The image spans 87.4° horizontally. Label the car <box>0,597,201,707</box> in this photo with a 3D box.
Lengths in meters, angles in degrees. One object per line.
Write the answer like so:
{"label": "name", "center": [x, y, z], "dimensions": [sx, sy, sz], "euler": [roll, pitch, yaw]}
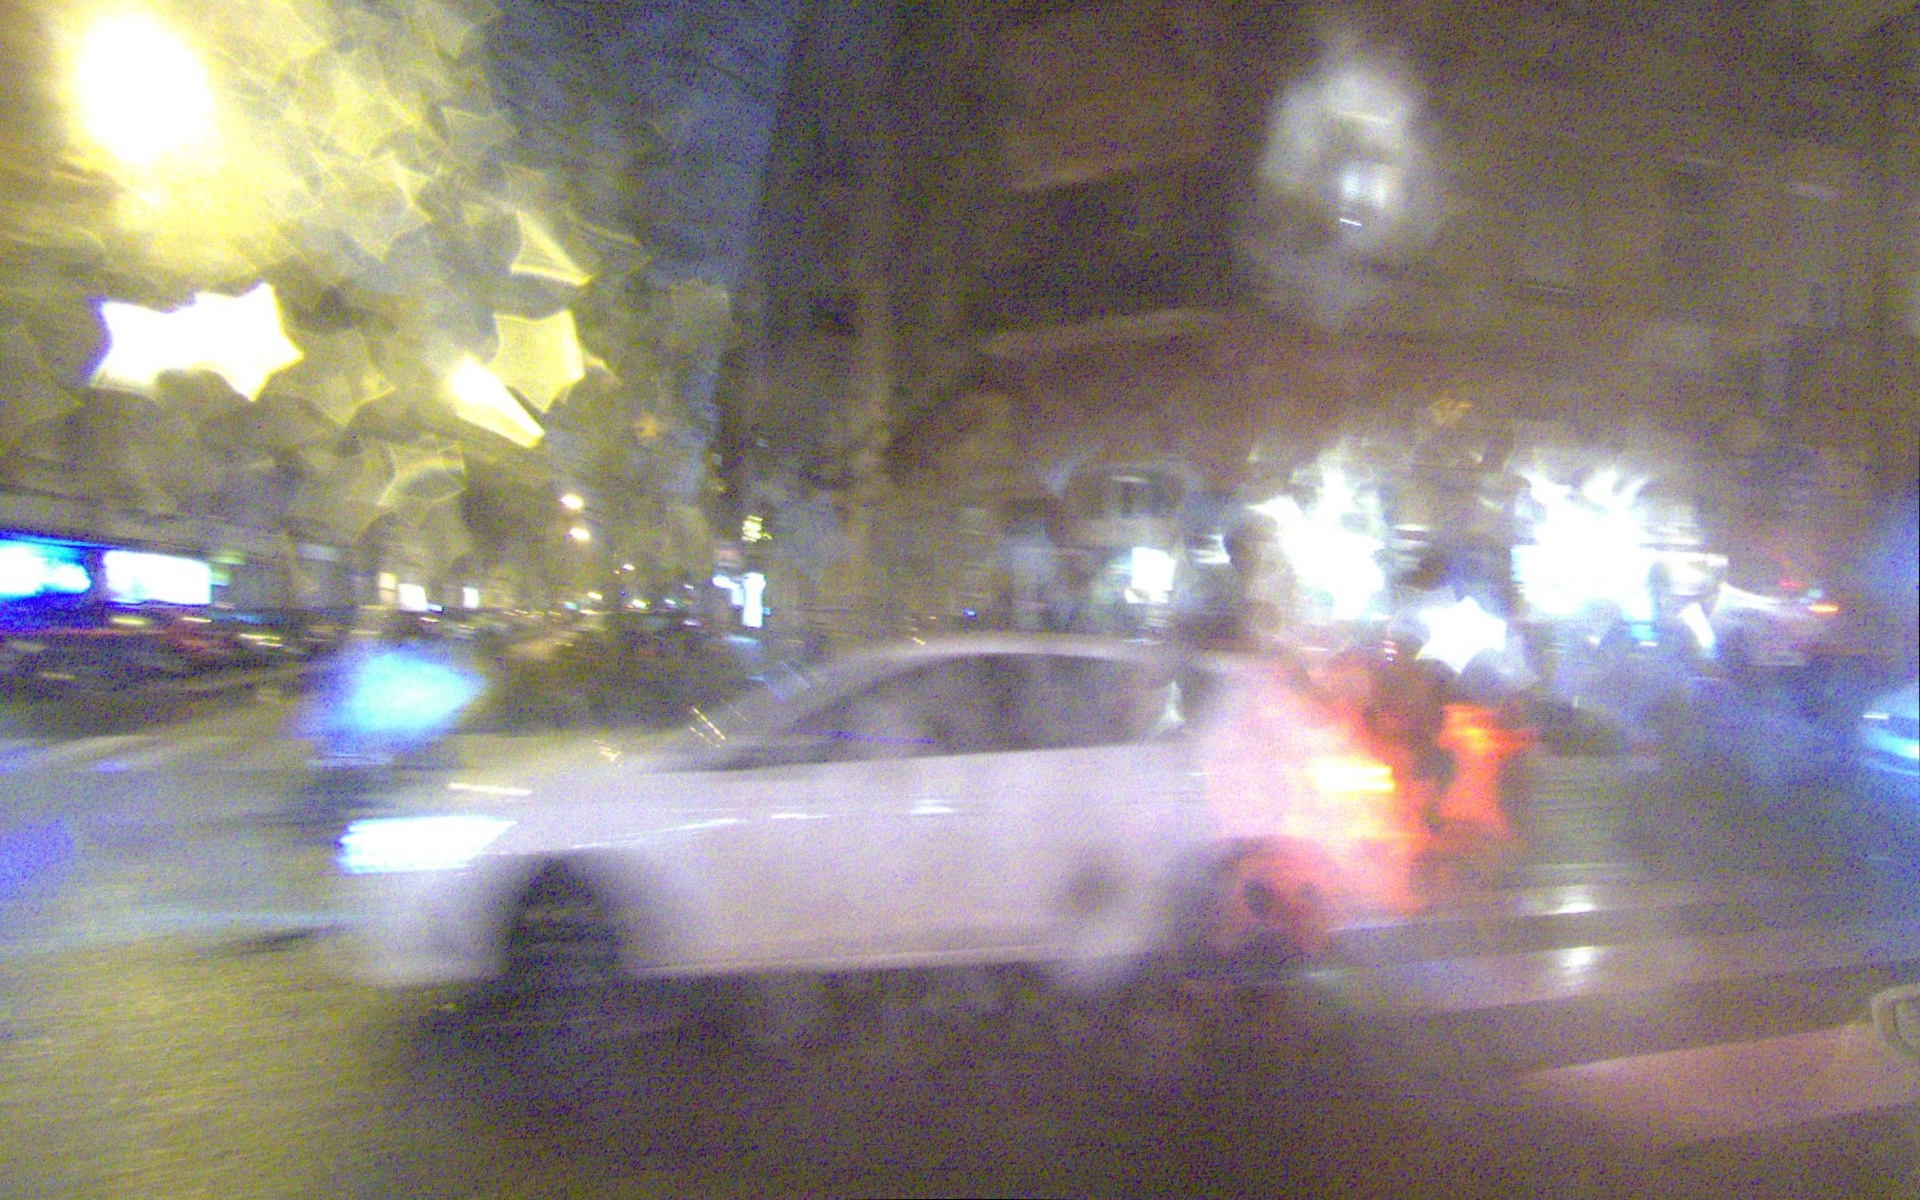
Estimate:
{"label": "car", "center": [-17.970, 1.000, 20.089], "dimensions": [3.932, 2.041, 1.994], "euler": [1, 1, -14]}

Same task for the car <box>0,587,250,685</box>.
{"label": "car", "center": [-18.472, 0.772, 22.295], "dimensions": [3.932, 2.041, 1.994], "euler": [1, 1, -14]}

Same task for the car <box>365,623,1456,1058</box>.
{"label": "car", "center": [-0.124, 0.837, 4.455], "dimensions": [3.995, 1.446, 1.566], "euler": [0, -2, -9]}

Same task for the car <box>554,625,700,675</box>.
{"label": "car", "center": [-8.974, 1.332, 27.329], "dimensions": [3.658, 1.292, 1.587], "euler": [0, -2, -15]}

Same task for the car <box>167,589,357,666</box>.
{"label": "car", "center": [-19.721, 0.773, 28.576], "dimensions": [3.932, 2.041, 1.994], "euler": [1, 1, -14]}

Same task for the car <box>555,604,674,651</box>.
{"label": "car", "center": [-10.731, 0.865, 31.402], "dimensions": [3.404, 1.422, 1.587], "euler": [0, -2, -15]}

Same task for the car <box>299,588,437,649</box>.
{"label": "car", "center": [-20.978, 0.628, 35.795], "dimensions": [3.942, 2.041, 1.989], "euler": [0, 1, -23]}

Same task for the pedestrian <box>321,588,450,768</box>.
{"label": "pedestrian", "center": [-6.221, 0.830, 10.937], "dimensions": [0.928, 1.882, 0.799], "euler": [0, -2, -4]}

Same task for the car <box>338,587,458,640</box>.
{"label": "car", "center": [-22.597, 0.538, 40.565], "dimensions": [3.942, 2.041, 1.989], "euler": [1, 1, -22]}

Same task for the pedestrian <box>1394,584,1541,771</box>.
{"label": "pedestrian", "center": [5.079, 0.747, 10.103], "dimensions": [0.998, 1.789, 0.805], "euler": [1, 1, -11]}

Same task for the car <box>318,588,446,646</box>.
{"label": "car", "center": [-21.741, 0.619, 37.968], "dimensions": [3.942, 2.041, 1.989], "euler": [0, 2, -23]}

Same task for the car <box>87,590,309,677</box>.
{"label": "car", "center": [-18.985, 0.823, 25.224], "dimensions": [3.932, 2.041, 1.994], "euler": [1, 1, -14]}

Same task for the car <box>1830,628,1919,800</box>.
{"label": "car", "center": [10.470, 1.061, 9.426], "dimensions": [3.959, 1.483, 1.585], "euler": [1, 2, -17]}
